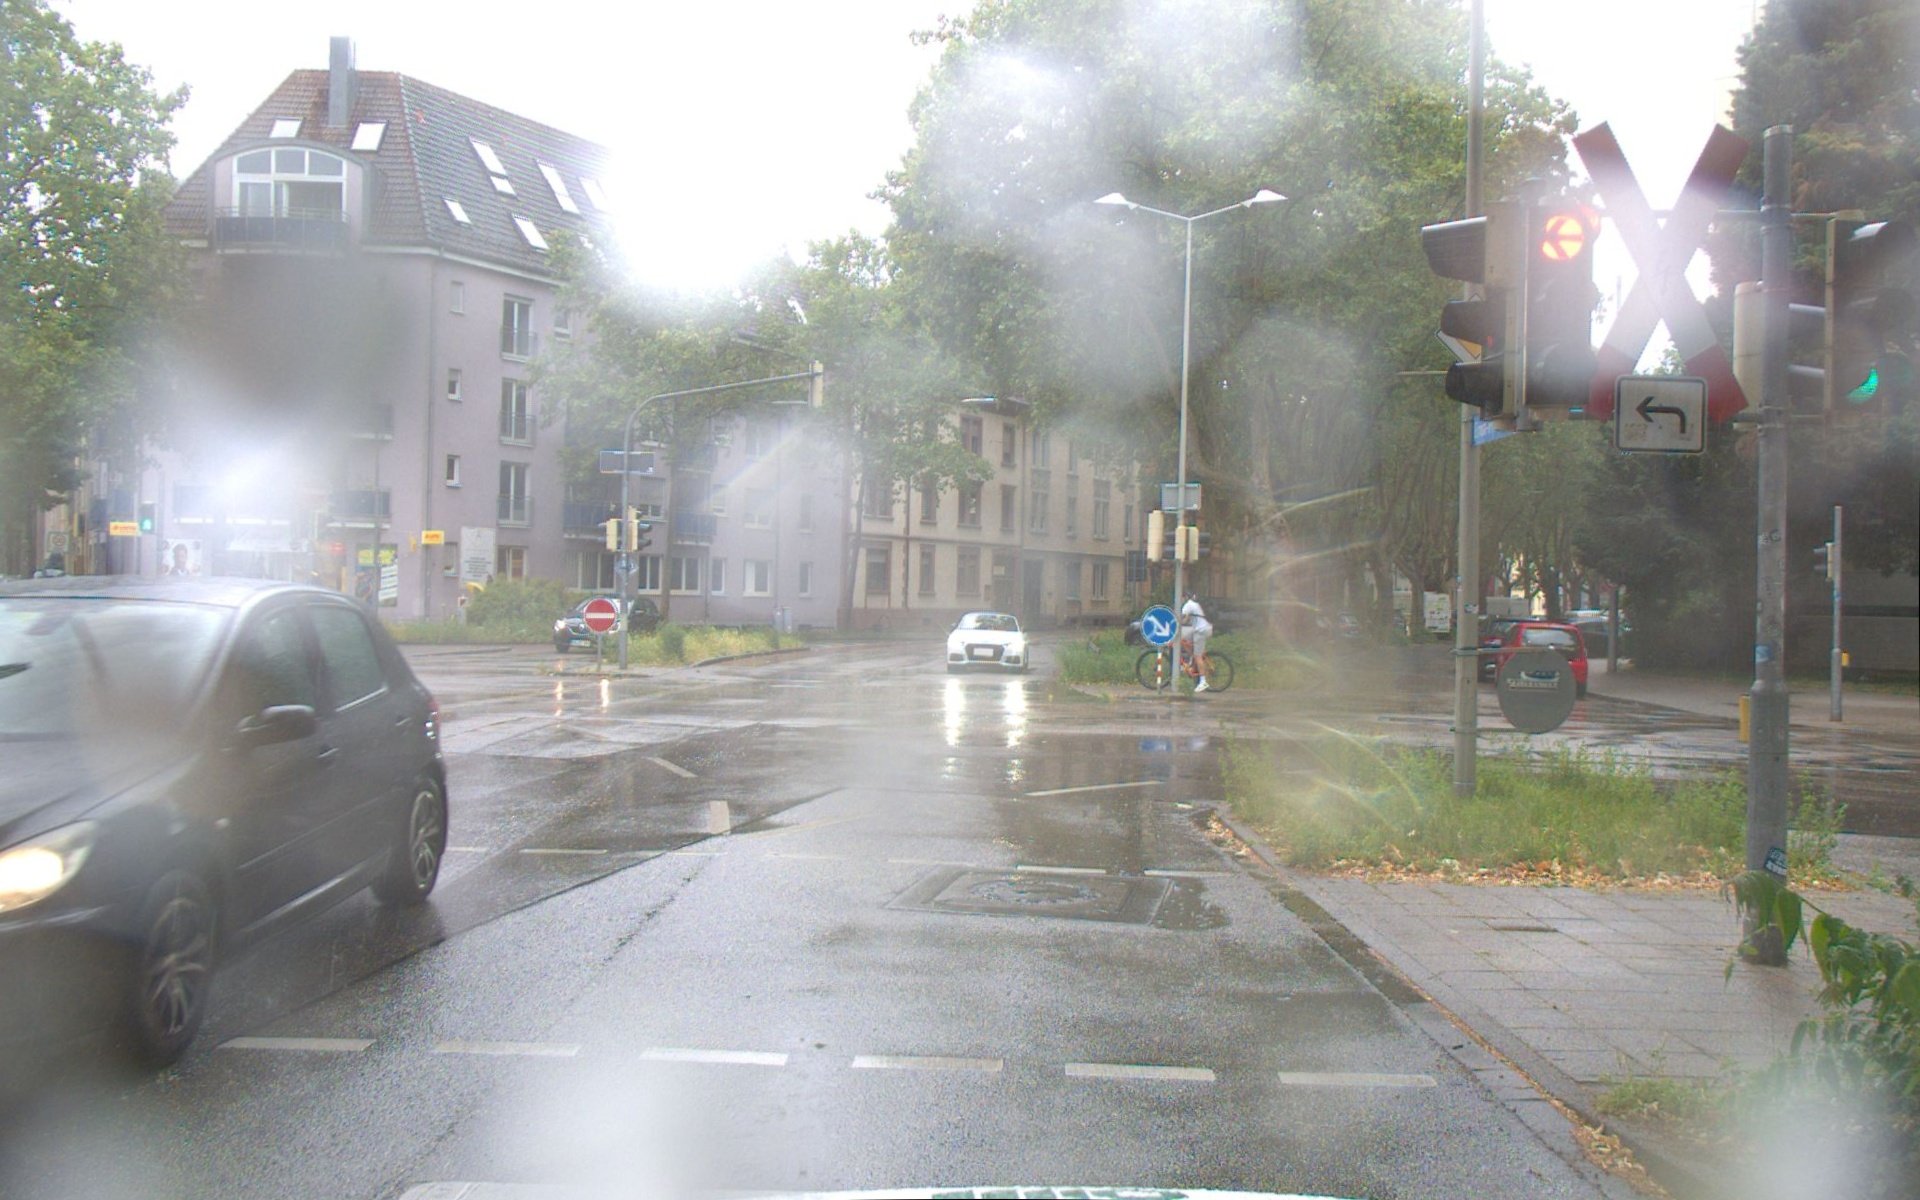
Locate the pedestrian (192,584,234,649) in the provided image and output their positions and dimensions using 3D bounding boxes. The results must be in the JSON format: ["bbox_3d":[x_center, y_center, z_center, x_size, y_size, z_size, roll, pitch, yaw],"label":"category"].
[{"bbox_3d":[-18.150,0.404,40.209,0.736,1.560,0.789,1,-1,-12],"label":"pedestrian"}]

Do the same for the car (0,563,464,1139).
[{"bbox_3d":[-3.211,0.641,6.122,1.679,1.485,3.747,1,0,-1],"label":"car"}]

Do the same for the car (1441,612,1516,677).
[{"bbox_3d":[14.978,1.249,47.910,1.745,1.757,4.003,1,0,13],"label":"car"}]

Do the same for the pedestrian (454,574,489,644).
[{"bbox_3d":[-15.564,0.282,52.646,0.897,2.188,0.879,1,-1,-27],"label":"pedestrian"}]

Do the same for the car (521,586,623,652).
[{"bbox_3d":[-9.637,0.437,41.346,1.716,1.538,3.838,1,0,-2],"label":"car"}]

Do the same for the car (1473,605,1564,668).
[{"bbox_3d":[13.886,0.872,41.306,1.745,1.371,3.932,2,1,13],"label":"car"}]

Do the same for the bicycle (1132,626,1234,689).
[{"bbox_3d":[4.102,1.044,30.446,1.833,1.100,0.657,1,0,7],"label":"bicycle"}]

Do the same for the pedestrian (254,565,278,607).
[{"bbox_3d":[-22.703,-0.451,54.144,0.436,1.353,0.560,1,-1,34],"label":"pedestrian"}]

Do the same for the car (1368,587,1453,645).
[{"bbox_3d":[23.944,0.842,88.070,2.005,2.999,4.742,1,0,-21],"label":"car"}]

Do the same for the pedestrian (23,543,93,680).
[{"bbox_3d":[-12.679,0.164,23.274,0.777,1.888,0.676,1,0,-25],"label":"pedestrian"}]

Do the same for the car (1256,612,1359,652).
[{"bbox_3d":[13.772,1.253,65.646,3.902,1.512,2.002,1,0,12],"label":"car"}]

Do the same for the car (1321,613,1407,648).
[{"bbox_3d":[19.251,1.436,78.927,3.902,1.574,2.002,1,0,12],"label":"car"}]

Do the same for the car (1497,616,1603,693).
[{"bbox_3d":[13.040,1.158,36.737,1.754,1.524,4.003,1,0,13],"label":"car"}]

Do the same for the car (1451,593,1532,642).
[{"bbox_3d":[33.660,1.080,104.813,1.974,2.999,4.720,1,0,-31],"label":"car"}]

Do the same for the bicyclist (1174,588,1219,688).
[{"bbox_3d":[4.351,0.690,30.421,0.778,1.817,0.697,1,-1,7],"label":"bicyclist"}]

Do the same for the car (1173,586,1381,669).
[{"bbox_3d":[6.275,0.530,32.793,3.902,1.512,2.002,1,0,12],"label":"car"}]

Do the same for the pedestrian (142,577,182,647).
[{"bbox_3d":[-18.788,0.278,38.951,0.662,1.628,0.964,1,-1,-16],"label":"pedestrian"}]

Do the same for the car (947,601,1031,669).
[{"bbox_3d":[0.702,0.791,39.086,1.845,1.461,4.001,1,0,1],"label":"car"}]
